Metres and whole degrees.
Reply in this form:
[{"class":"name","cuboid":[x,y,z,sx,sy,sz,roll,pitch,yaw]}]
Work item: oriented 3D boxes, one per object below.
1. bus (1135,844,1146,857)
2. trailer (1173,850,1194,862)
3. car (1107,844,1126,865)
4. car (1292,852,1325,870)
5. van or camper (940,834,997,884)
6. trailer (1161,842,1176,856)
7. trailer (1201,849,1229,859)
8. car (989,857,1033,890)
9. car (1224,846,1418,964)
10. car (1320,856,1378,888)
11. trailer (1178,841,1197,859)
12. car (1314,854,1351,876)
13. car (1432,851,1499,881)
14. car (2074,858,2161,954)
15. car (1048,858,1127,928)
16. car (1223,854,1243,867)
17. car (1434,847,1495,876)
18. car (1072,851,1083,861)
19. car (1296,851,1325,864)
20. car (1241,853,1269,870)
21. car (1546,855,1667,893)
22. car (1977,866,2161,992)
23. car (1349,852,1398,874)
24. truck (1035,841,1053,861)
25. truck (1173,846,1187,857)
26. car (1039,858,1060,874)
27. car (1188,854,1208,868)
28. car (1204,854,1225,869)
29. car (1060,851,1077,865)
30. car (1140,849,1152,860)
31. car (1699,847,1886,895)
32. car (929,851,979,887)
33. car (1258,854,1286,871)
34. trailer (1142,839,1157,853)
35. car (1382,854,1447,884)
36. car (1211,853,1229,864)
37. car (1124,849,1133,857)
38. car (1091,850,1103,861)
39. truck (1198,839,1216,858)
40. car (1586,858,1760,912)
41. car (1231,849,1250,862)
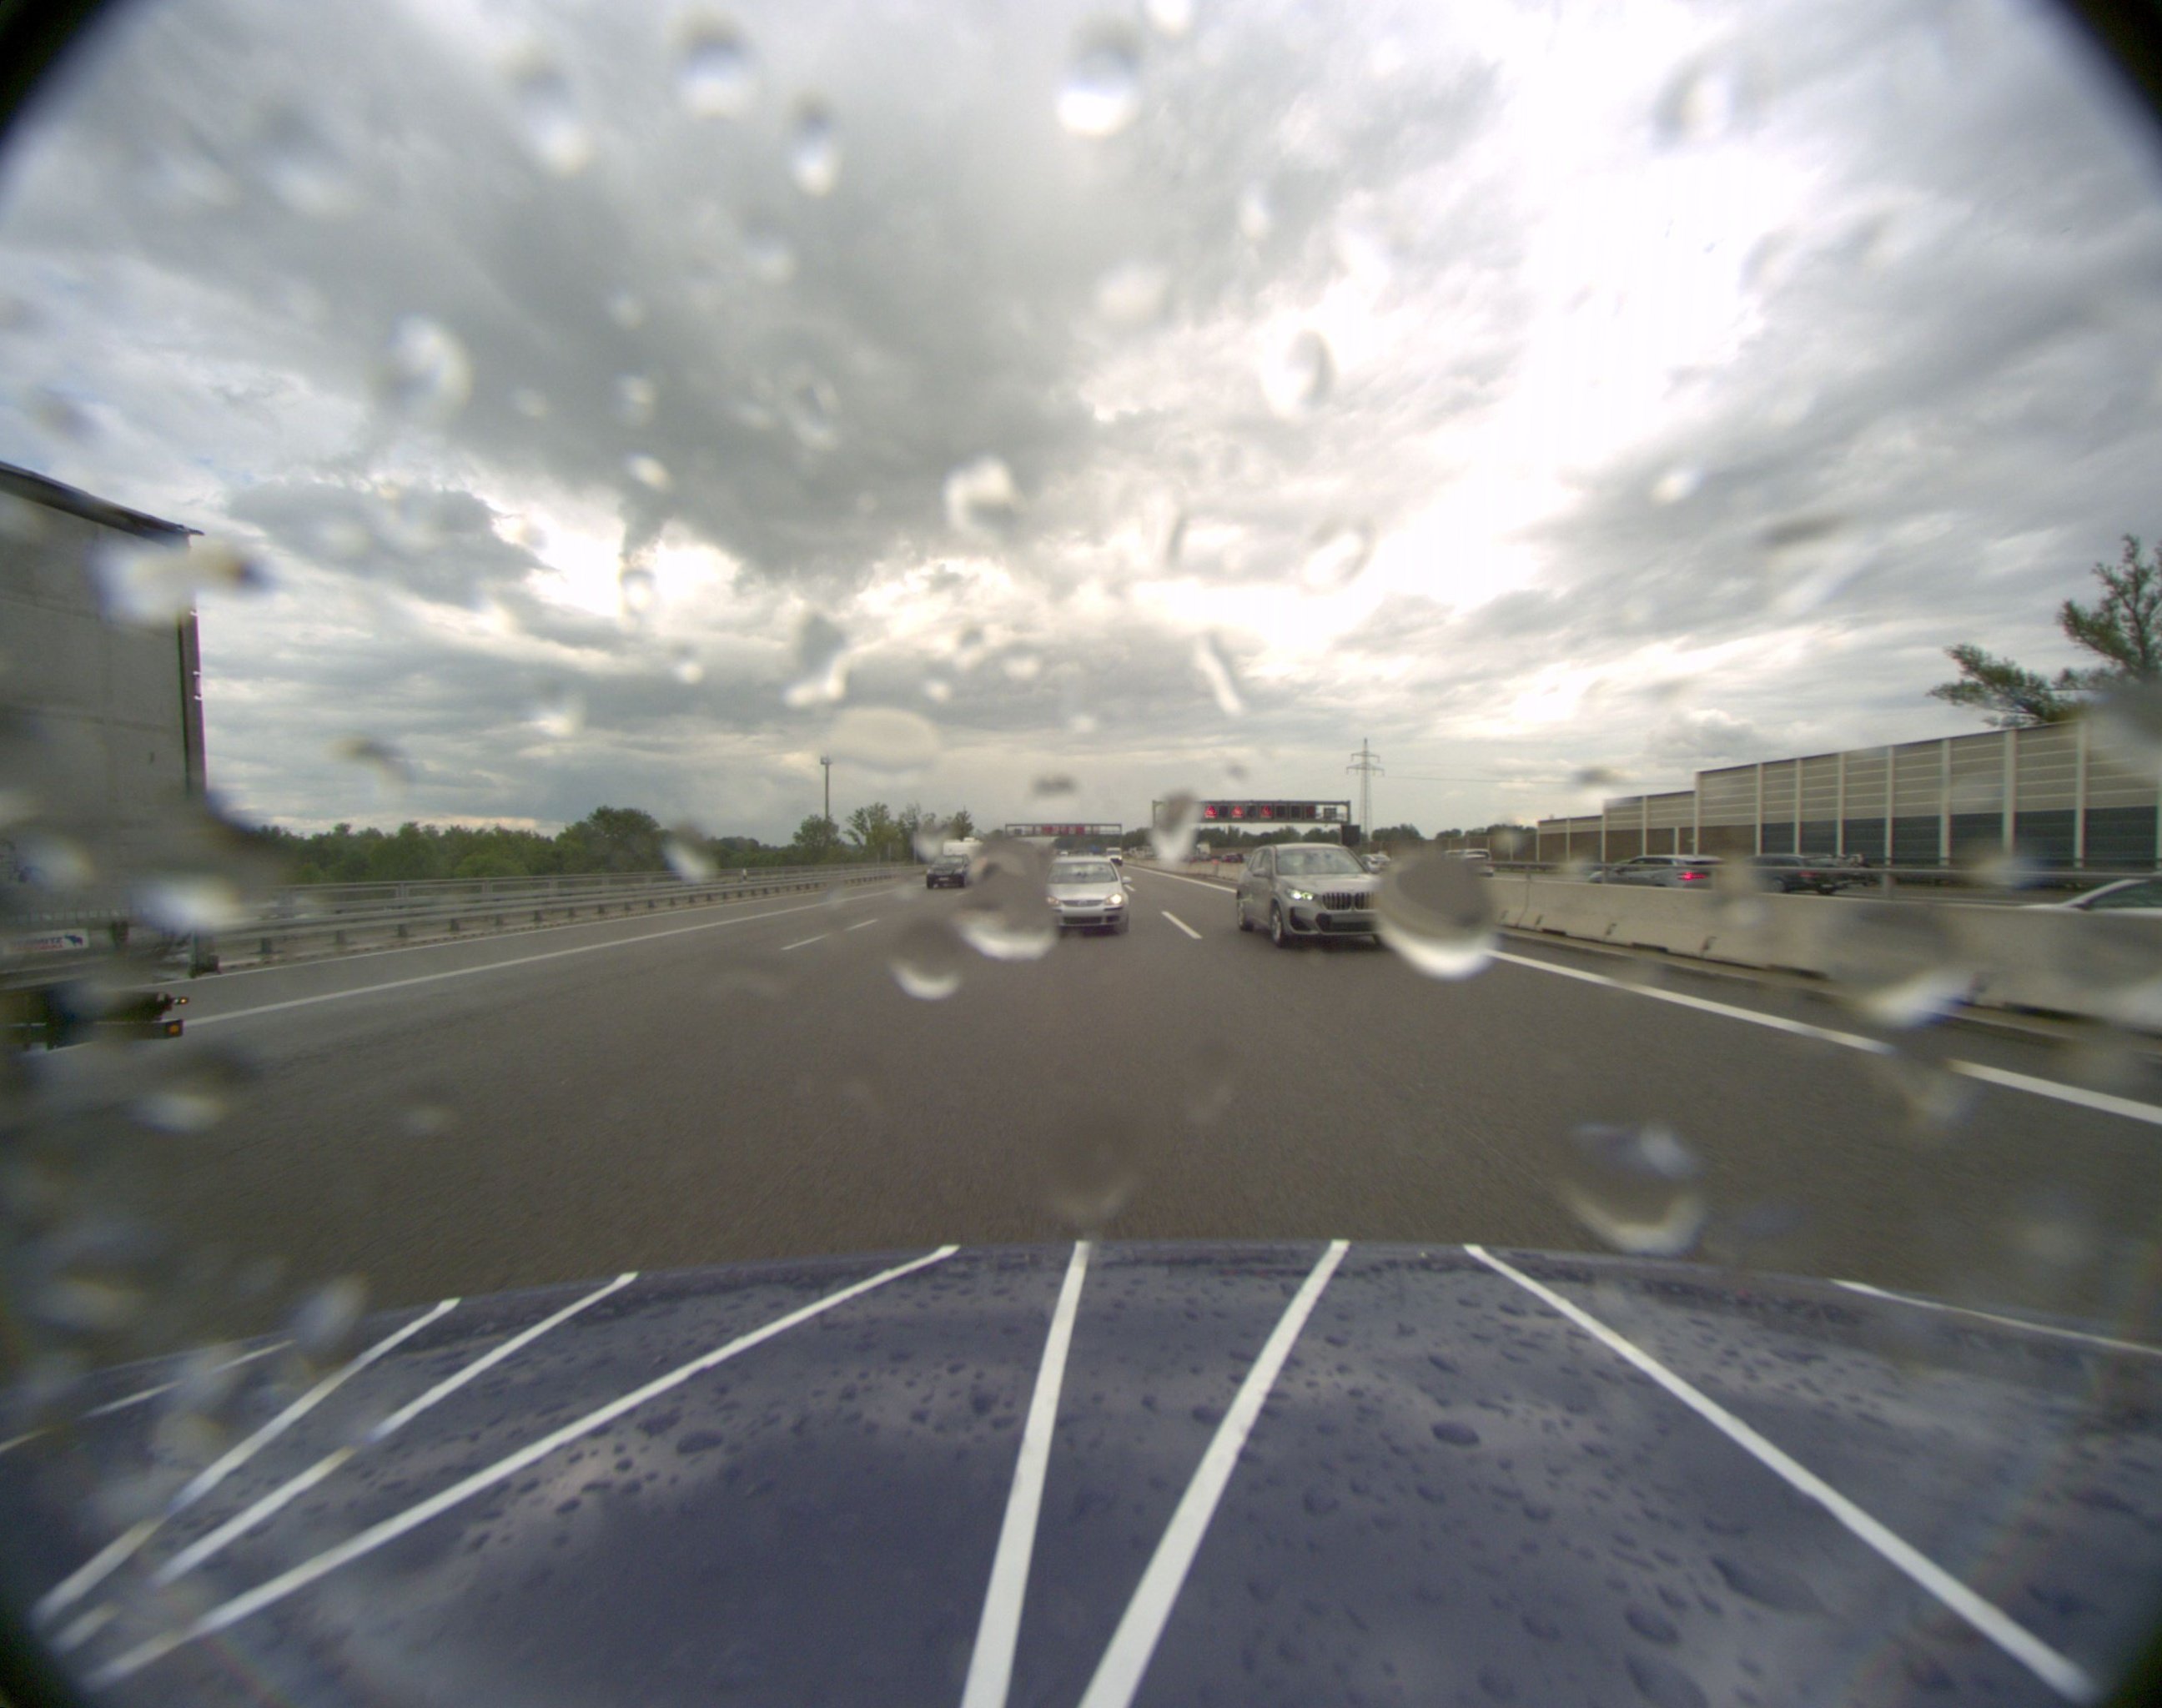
[{"class":"bus","cuboid":[17.857,-1.030,227.771,2.661,3.658,10.633,-1,0,0]},{"class":"trailer","cuboid":[14.704,0.296,109.398,2.149,1.699,6.046,-1,0,0]},{"class":"car","cuboid":[4.468,0.092,96.710,1.999,2.524,4.807,-2,0,-2]},{"class":"car","cuboid":[22.001,0.642,73.669,1.752,1.621,4.391,-1,0,-1]},{"class":"van or camper","cuboid":[-6.667,0.278,46.009,2.390,2.722,7.208,-2,0,-1]},{"class":"trailer","cuboid":[26.123,-1.493,227.675,3.037,3.910,12.973,-1,0,0]},{"class":"trailer","cuboid":[26.407,-0.002,150.453,2.759,1.818,16.349,-1,0,0]},{"class":"car","cuboid":[-3.255,0.867,35.917,1.718,1.437,3.999,-2,0,-1]},{"class":"car","cuboid":[3.855,0.728,13.182,1.841,1.615,4.915,-2,0,1]},{"class":"car","cuboid":[14.454,0.939,41.192,1.752,1.598,4.178,-1,0,1]},{"class":"trailer","cuboid":[19.164,-0.701,136.837,2.455,3.120,6.050,-1,0,0]},{"class":"car","cuboid":[18.731,0.833,56.815,1.625,1.571,3.619,-1,0,1]},{"class":"car","cuboid":[21.855,0.632,43.340,1.752,1.601,4.178,-1,0,1]},{"class":"car","cuboid":[18.207,0.830,11.185,1.752,1.516,4.178,-1,0,1]},{"class":"car","cuboid":[0.101,0.874,18.639,1.683,1.437,3.999,-2,0,-1]},{"class":"car","cuboid":[18.941,0.774,95.006,1.751,1.621,4.166,-1,0,2]},{"class":"car","cuboid":[26.221,0.473,52.122,1.752,1.882,4.782,-1,0,0]},{"class":"car","cuboid":[-0.709,0.431,156.626,1.999,2.002,3.999,-2,0,-2]},{"class":"car","cuboid":[26.494,0.393,87.867,1.869,1.392,4.573,-1,0,-1]},{"class":"car","cuboid":[14.697,0.648,64.414,1.575,1.386,3.575,-1,0,1]},{"class":"car","cuboid":[21.809,0.773,31.813,1.752,1.422,4.715,-1,0,-1]},{"class":"car","cuboid":[14.422,0.956,9.417,1.752,1.516,4.178,-1,0,1]},{"class":"car","cuboid":[21.983,0.644,57.285,1.752,1.621,4.644,-1,0,-1]},{"class":"truck","cuboid":[-6.997,-0.528,144.953,2.870,3.633,9.593,-2,0,-1]},{"class":"truck","cuboid":[25.100,-0.686,193.080,2.698,2.797,7.834,-1,0,0]},{"class":"car","cuboid":[-2.967,1.130,72.102,1.841,1.437,3.999,-2,0,-1]},{"class":"car","cuboid":[14.641,0.890,95.259,1.885,1.734,5.110,-1,0,2]},{"class":"car","cuboid":[14.669,0.768,83.595,1.752,1.621,3.748,-1,0,1]},{"class":"car","cuboid":[-1.640,0.481,96.950,1.999,1.701,3.999,-2,0,-2]},{"class":"car","cuboid":[13.923,0.128,162.744,2.236,2.224,5.512,-1,0,0]},{"class":"car","cuboid":[26.204,0.578,28.359,1.752,1.601,5.688,-1,0,1]},{"class":"car","cuboid":[-6.656,0.753,40.139,1.925,1.765,4.502,-2,0,-1]},{"class":"car","cuboid":[18.509,0.794,73.686,1.751,1.621,4.166,-1,0,2]},{"class":"trailer","cuboid":[21.076,-2.437,233.838,2.893,3.938,14.297,-2,0,-1]},{"class":"car","cuboid":[18.830,0.794,43.093,1.939,1.601,4.178,-1,0,1]},{"class":"car","cuboid":[19.643,0.646,107.477,1.686,1.568,3.875,-1,0,-1]},{"class":"car","cuboid":[13.903,-0.354,222.092,2.141,2.338,5.711,-2,0,1]},{"class":"car","cuboid":[2.895,0.286,138.967,1.999,2.002,3.999,-2,0,-2]},{"class":"truck","cuboid":[26.468,-1.061,159.453,2.759,3.864,6.050,-1,0,0]},{"class":"car","cuboid":[18.501,0.897,24.121,1.752,1.516,4.927,-1,0,1]},{"class":"car","cuboid":[22.418,0.221,106.917,1.752,1.837,4.165,-1,0,-1]}]
